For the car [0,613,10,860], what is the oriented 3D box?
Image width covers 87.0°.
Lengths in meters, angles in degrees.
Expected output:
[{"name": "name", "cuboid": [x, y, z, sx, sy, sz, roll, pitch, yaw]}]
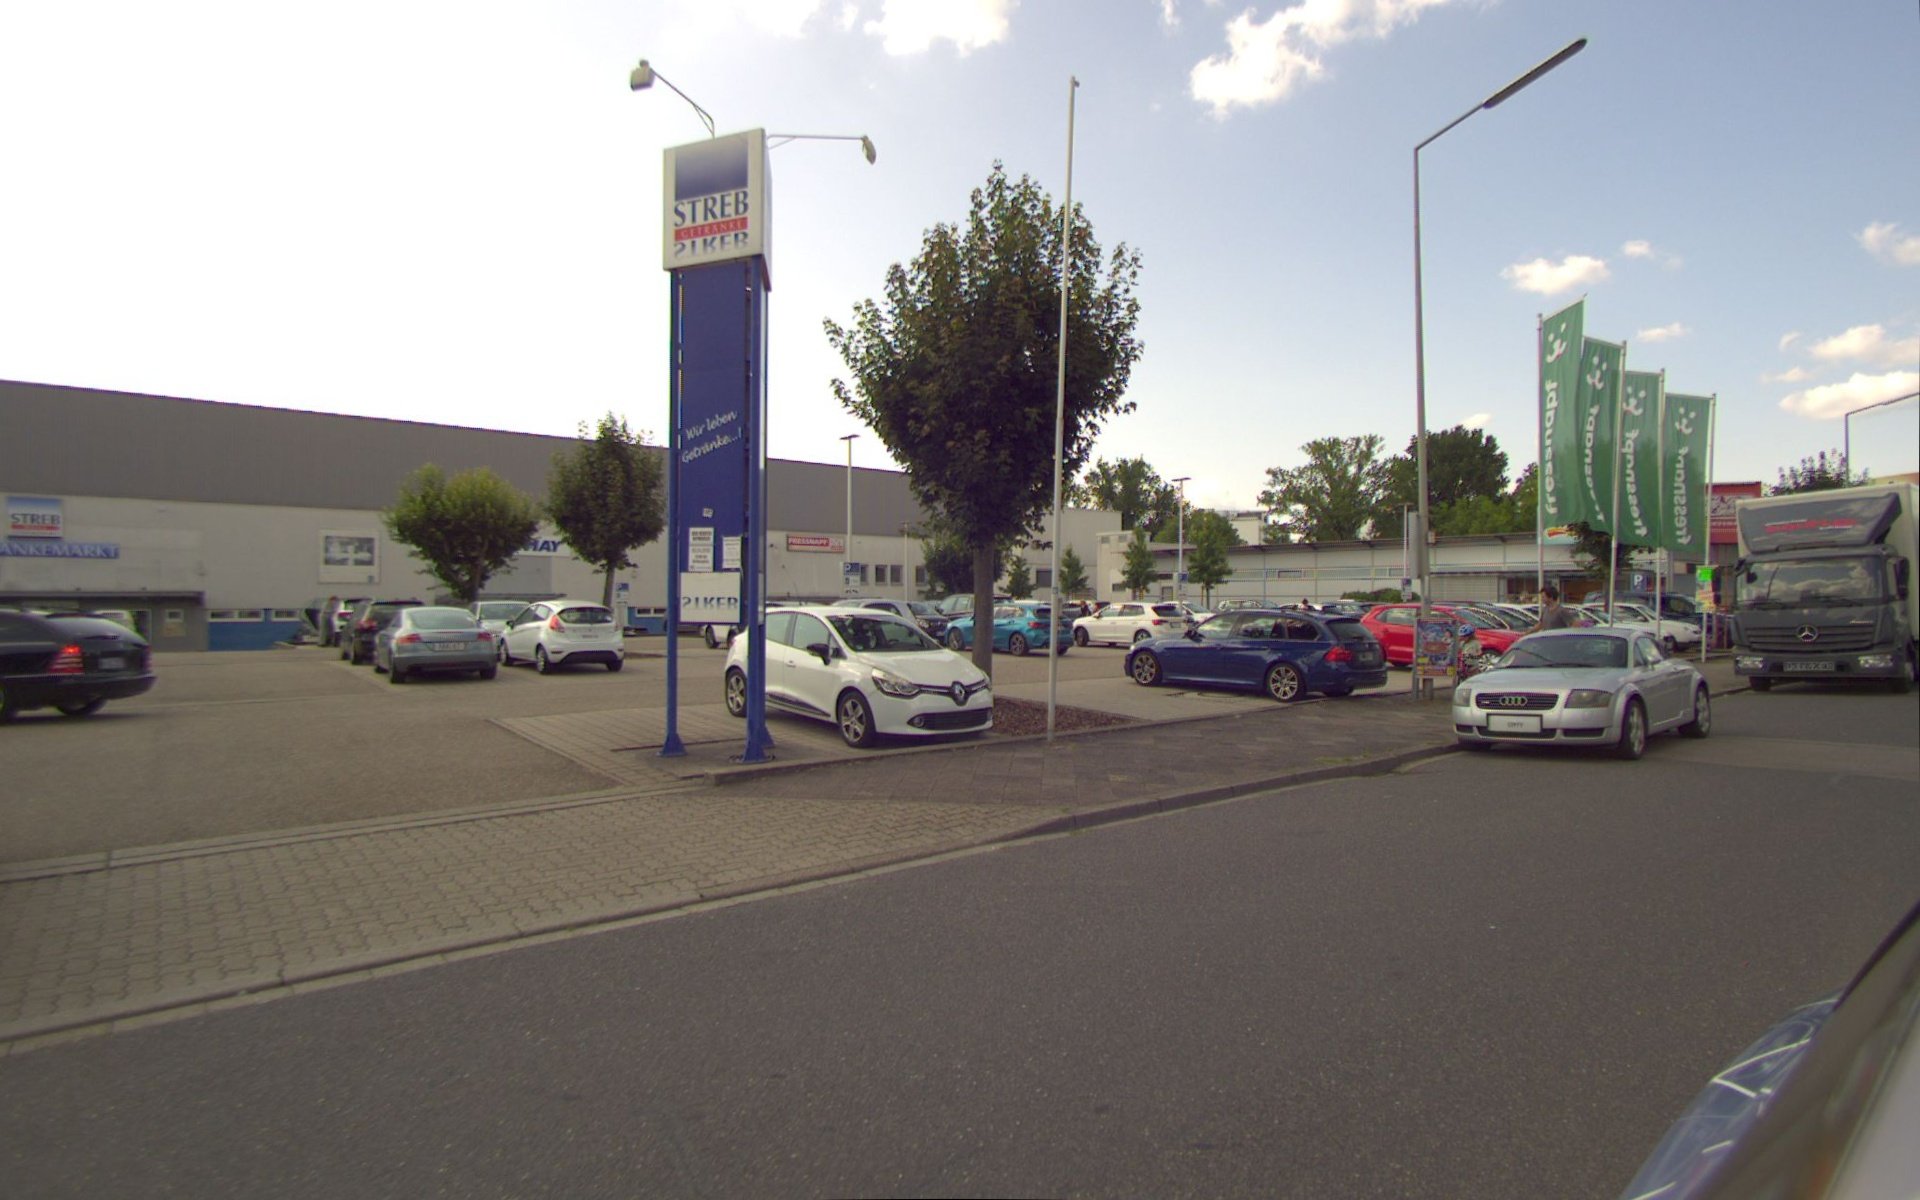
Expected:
[{"name": "car", "cuboid": [-5.580, 0.858, 4.335, 1.656, 1.488, 3.613, 0, 1, -35]}]

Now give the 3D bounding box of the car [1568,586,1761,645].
[{"name": "car", "cuboid": [23.148, 0.456, 33.434, 1.868, 1.810, 4.904, 0, 0, -39]}]

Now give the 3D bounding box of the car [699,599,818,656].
[{"name": "car", "cuboid": [-5.985, 0.744, 29.766, 1.694, 1.502, 4.016, 0, 0, -41]}]

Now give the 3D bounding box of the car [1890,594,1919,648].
[{"name": "car", "cuboid": [32.655, 0.633, 32.184, 4.504, 1.706, 1.745, -1, -1, 0]}]

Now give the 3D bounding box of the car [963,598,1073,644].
[{"name": "car", "cuboid": [2.019, 0.693, 36.221, 1.694, 1.502, 3.942, 0, 0, -41]}]

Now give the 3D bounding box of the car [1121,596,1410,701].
[{"name": "car", "cuboid": [4.916, 0.692, 16.780, 1.814, 1.462, 4.316, 0, 0, -40]}]

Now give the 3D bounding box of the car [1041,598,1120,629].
[{"name": "car", "cuboid": [6.254, 0.651, 52.795, 1.694, 1.502, 4.039, 0, 0, -41]}]

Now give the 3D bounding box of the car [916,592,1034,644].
[{"name": "car", "cuboid": [0.462, 0.553, 34.087, 1.710, 1.598, 4.064, 0, 0, -41]}]

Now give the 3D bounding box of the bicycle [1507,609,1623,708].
[{"name": "bicycle", "cuboid": [9.055, 0.833, 15.124, 1.848, 1.310, 0.795, 0, 3, -37]}]

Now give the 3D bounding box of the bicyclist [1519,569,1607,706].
[{"name": "bicyclist", "cuboid": [8.939, 0.522, 15.017, 0.813, 1.933, 0.797, 0, 3, -37]}]

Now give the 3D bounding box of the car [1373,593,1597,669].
[{"name": "car", "cuboid": [12.075, 0.648, 23.477, 1.720, 1.562, 4.289, 0, 0, -43]}]

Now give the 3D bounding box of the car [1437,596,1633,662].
[{"name": "car", "cuboid": [14.107, 0.650, 24.952, 1.720, 1.450, 3.887, 0, 0, -44]}]

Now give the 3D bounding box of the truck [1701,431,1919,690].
[{"name": "truck", "cuboid": [17.622, -0.569, 19.862, 8.129, 4.170, 2.783, 0, -3, -39]}]

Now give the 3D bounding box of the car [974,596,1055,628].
[{"name": "car", "cuboid": [2.698, 0.596, 51.062, 1.694, 1.502, 4.138, 0, 0, -41]}]

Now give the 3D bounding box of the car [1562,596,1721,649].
[{"name": "car", "cuboid": [21.208, 0.650, 31.624, 1.623, 1.518, 3.822, 0, 0, -37]}]

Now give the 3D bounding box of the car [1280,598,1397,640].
[{"name": "car", "cuboid": [14.630, 0.699, 39.248, 1.694, 1.502, 3.942, 0, 0, -41]}]

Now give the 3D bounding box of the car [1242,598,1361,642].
[{"name": "car", "cuboid": [12.797, 0.718, 38.106, 1.694, 1.502, 3.942, 0, 0, -41]}]

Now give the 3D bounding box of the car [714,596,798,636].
[{"name": "car", "cuboid": [-8.434, 0.634, 41.651, 1.694, 1.502, 3.929, 0, 0, -41]}]

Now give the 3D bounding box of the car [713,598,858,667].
[{"name": "car", "cuboid": [-4.344, 0.720, 24.818, 1.694, 1.502, 4.001, 0, 0, -41]}]

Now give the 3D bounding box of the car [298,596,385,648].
[{"name": "car", "cuboid": [-19.803, 0.663, 32.317, 1.694, 1.502, 4.192, 0, 0, -41]}]

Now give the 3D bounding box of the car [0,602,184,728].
[{"name": "car", "cuboid": [-12.448, 0.807, 12.467, 4.298, 1.428, 1.689, -2, 0, -7]}]

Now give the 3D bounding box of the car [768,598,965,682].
[{"name": "car", "cuboid": [-1.836, 0.751, 20.489, 3.688, 1.539, 1.721, 0, -1, -42]}]

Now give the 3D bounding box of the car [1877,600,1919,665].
[{"name": "car", "cuboid": [23.865, 0.767, 24.821, 3.562, 1.531, 1.547, 0, -3, -41]}]

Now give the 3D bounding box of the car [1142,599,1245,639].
[{"name": "car", "cuboid": [9.681, 0.758, 42.155, 1.694, 1.502, 3.942, 0, 0, -41]}]

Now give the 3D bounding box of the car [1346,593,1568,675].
[{"name": "car", "cuboid": [10.452, 0.651, 21.466, 1.720, 1.542, 3.887, 0, 0, -44]}]

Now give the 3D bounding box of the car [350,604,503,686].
[{"name": "car", "cuboid": [-10.492, 0.792, 19.769, 1.763, 1.355, 4.111, 0, 0, -41]}]

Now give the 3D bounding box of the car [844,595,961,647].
[{"name": "car", "cuboid": [-1.914, 0.632, 32.666, 1.694, 1.502, 4.026, 0, 0, -41]}]

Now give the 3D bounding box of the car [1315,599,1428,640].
[{"name": "car", "cuboid": [16.740, 0.759, 41.273, 1.694, 1.502, 3.942, 0, 0, -41]}]

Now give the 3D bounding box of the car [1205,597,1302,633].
[{"name": "car", "cuboid": [13.271, 0.659, 45.849, 1.694, 1.502, 3.942, 0, 0, -41]}]

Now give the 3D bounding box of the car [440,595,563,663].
[{"name": "car", "cuboid": [-11.476, 0.654, 25.206, 1.694, 1.502, 4.125, 0, 0, -41]}]

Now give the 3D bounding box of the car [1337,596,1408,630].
[{"name": "car", "cuboid": [19.464, 0.609, 47.809, 1.617, 1.563, 2.715, 0, -1, -40]}]

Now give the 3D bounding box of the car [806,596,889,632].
[{"name": "car", "cuboid": [-5.072, 0.601, 45.089, 1.694, 1.502, 4.037, 0, 0, -41]}]

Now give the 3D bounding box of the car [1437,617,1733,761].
[{"name": "car", "cuboid": [7.257, 0.928, 11.623, 3.913, 1.358, 1.664, 0, -4, -40]}]

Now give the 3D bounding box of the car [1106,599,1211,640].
[{"name": "car", "cuboid": [7.925, 0.745, 40.622, 1.694, 1.502, 3.942, 0, 0, -41]}]

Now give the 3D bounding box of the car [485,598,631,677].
[{"name": "car", "cuboid": [-8.742, 0.729, 21.842, 1.694, 1.502, 4.065, 0, 0, -41]}]

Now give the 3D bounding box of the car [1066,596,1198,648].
[{"name": "car", "cuboid": [5.360, 0.650, 31.941, 1.694, 1.502, 3.942, 0, 0, -41]}]

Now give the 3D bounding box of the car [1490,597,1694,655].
[{"name": "car", "cuboid": [17.551, 0.666, 28.282, 1.825, 1.455, 4.491, 0, 0, -39]}]

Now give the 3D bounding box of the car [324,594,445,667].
[{"name": "car", "cuboid": [-13.411, 0.647, 23.480, 1.694, 1.502, 4.048, 0, 0, -41]}]

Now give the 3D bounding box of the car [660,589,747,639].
[{"name": "car", "cuboid": [-10.133, 0.517, 39.807, 1.694, 1.823, 4.072, 0, 0, -41]}]

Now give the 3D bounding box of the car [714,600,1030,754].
[{"name": "car", "cuboid": [-1.195, 0.764, 12.108, 1.765, 1.428, 3.959, 0, 1, -41]}]

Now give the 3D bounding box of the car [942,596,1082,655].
[{"name": "car", "cuboid": [1.407, 0.678, 28.741, 1.710, 1.502, 3.988, 0, 0, -41]}]
